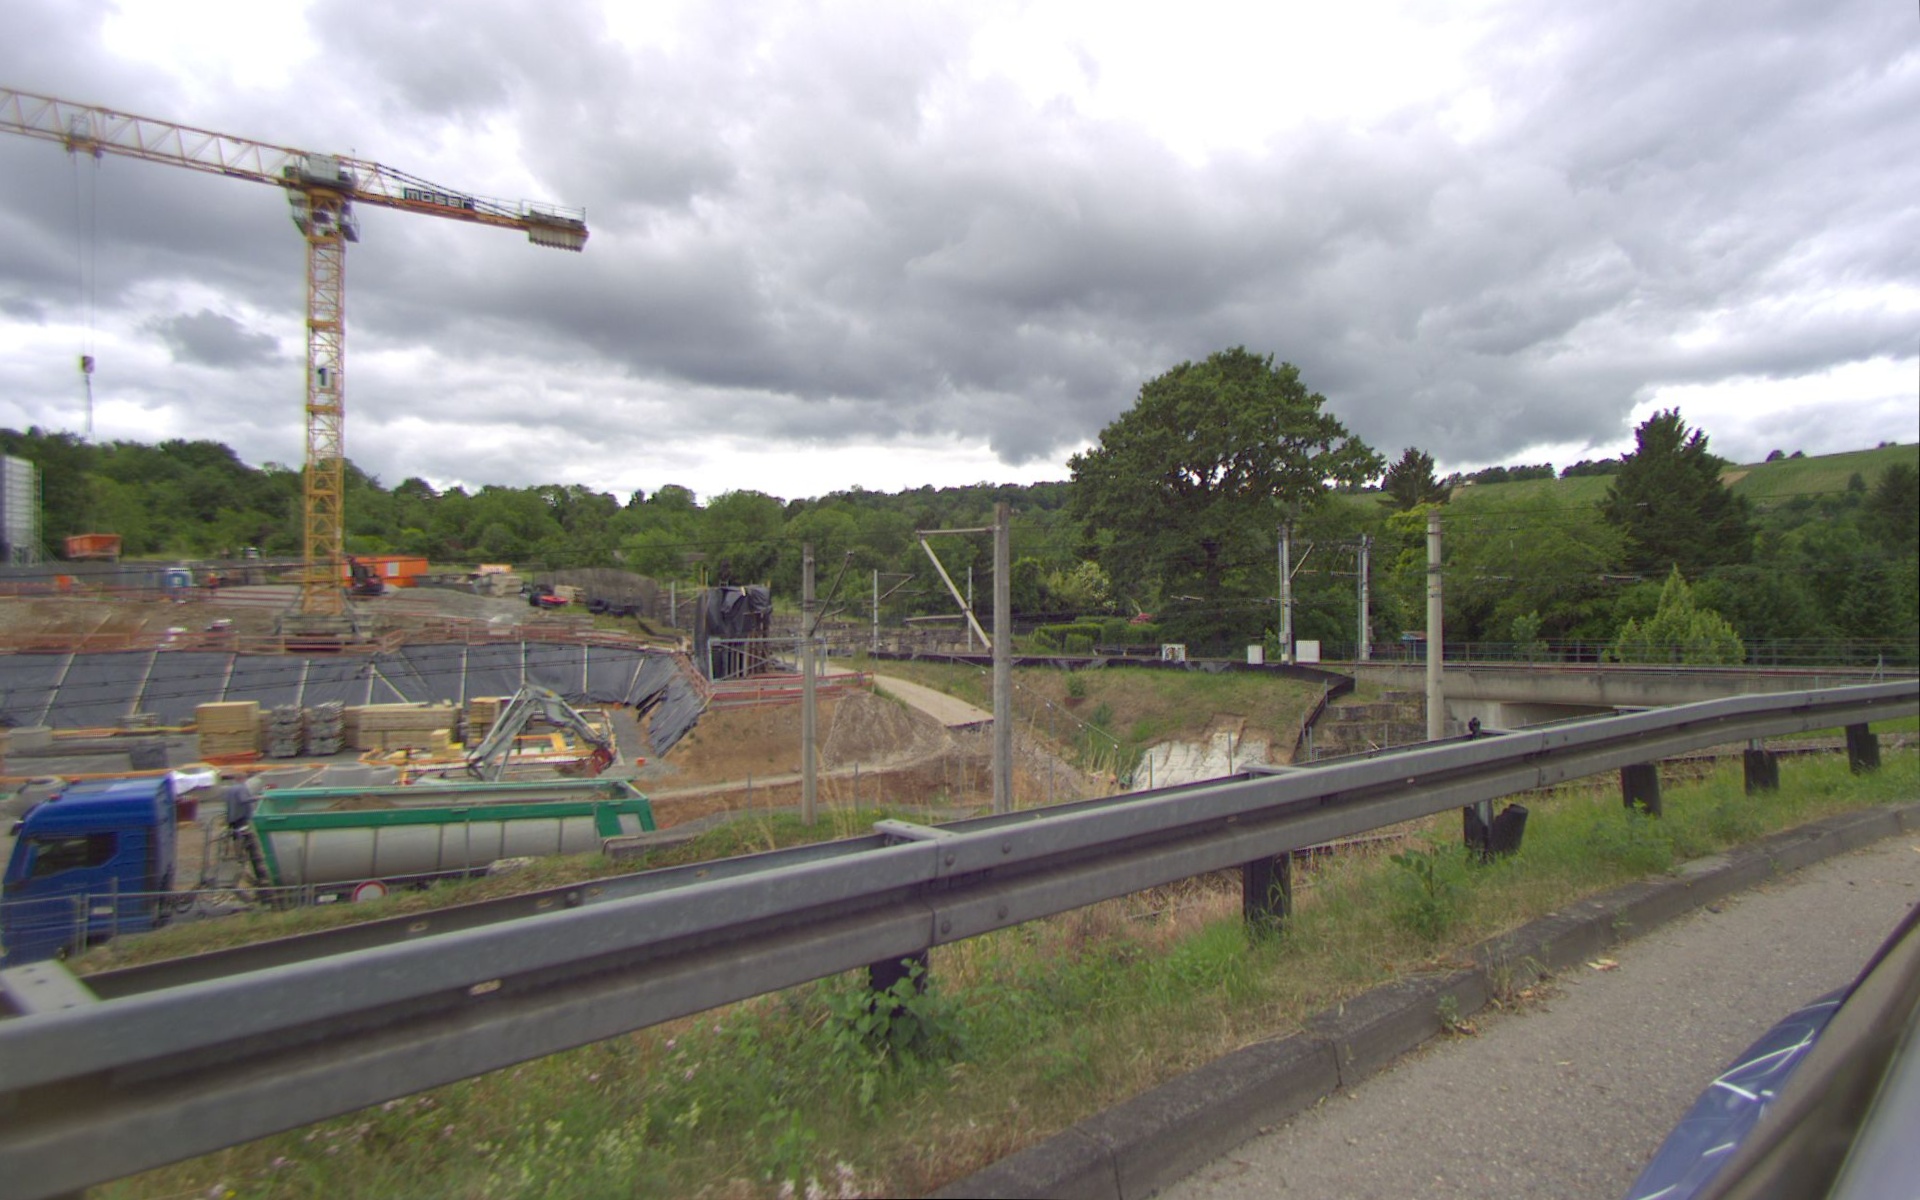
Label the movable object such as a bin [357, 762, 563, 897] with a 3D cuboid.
[{"bbox_3d":[-12.913,5.883,26.556,4.197,2.784,3.053,2,-1,-14],"label":"movable object such as a bin"}]

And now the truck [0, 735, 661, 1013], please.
[{"bbox_3d":[-12.530,5.284,21.570,11.389,3.943,2.848,2,-1,-31],"label":"truck"}]

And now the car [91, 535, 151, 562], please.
[{"bbox_3d":[-68.937,-4.184,83.259,1.959,2.039,4.006,-1,0,-8],"label":"car"}]

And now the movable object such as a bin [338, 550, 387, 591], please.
[{"bbox_3d":[-46.442,-2.302,78.723,2.742,3.116,1.844,-1,0,-11],"label":"movable object such as a bin"}]
